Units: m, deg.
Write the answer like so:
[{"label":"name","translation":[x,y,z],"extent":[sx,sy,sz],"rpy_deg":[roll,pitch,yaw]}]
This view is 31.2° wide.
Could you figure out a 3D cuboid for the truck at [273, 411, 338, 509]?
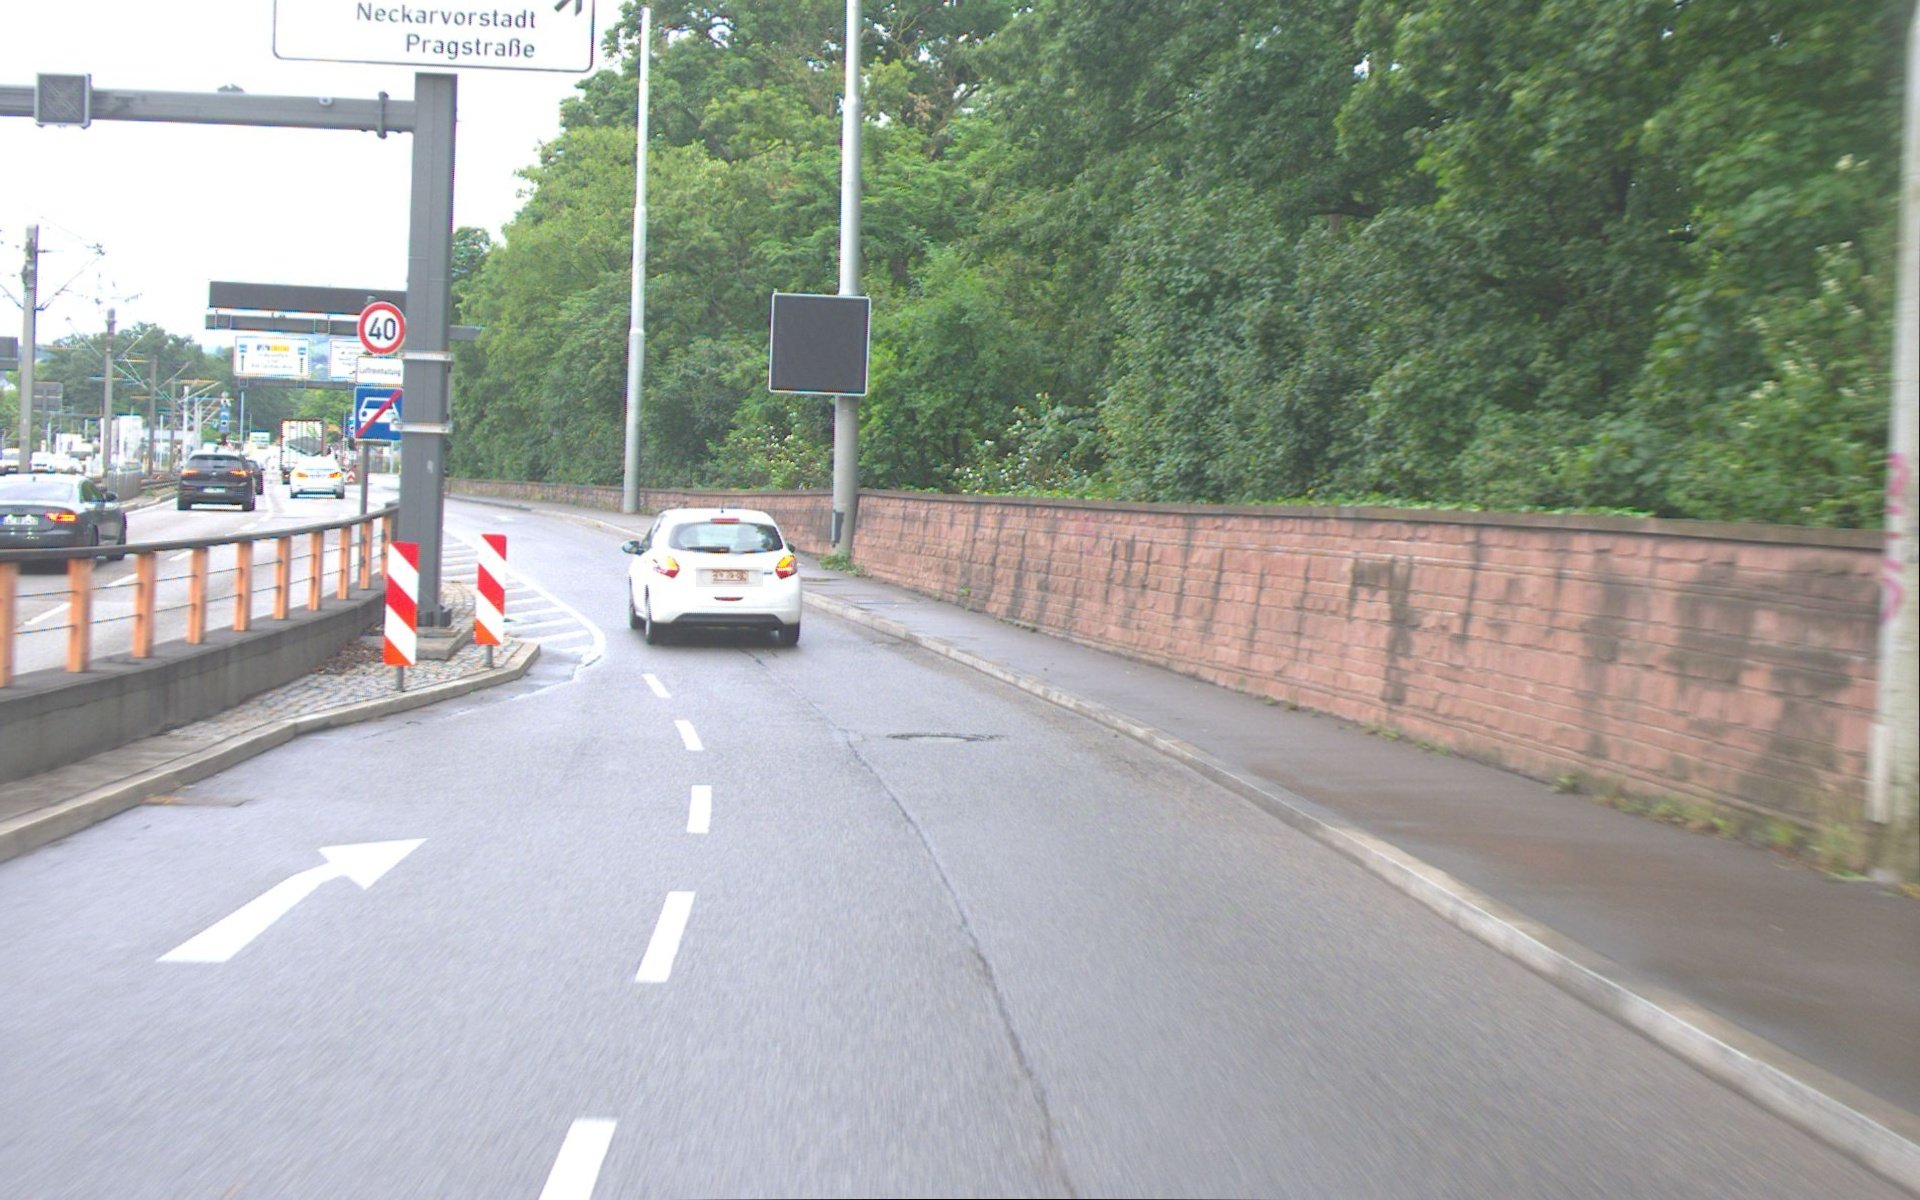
[{"label":"truck","translation":[-40.793,-8.632,214.708],"extent":[3.464,5.382,12.054],"rpy_deg":[3,-1,-10]}]

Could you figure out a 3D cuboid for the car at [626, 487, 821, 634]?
[{"label":"car","translation":[-2.724,-0.406,38.846],"extent":[1.955,1.483,4.001],"rpy_deg":[3,-1,-7]}]

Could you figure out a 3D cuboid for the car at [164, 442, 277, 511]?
[{"label":"car","translation":[-17.749,-2.956,82.654],"extent":[1.993,1.570,4.001],"rpy_deg":[1,2,-3]}]

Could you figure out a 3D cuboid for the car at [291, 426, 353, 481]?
[{"label":"car","translation":[-22.425,-5.127,120.794],"extent":[2.081,1.866,4.097],"rpy_deg":[1,2,-11]}]

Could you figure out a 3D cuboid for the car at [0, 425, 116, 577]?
[{"label":"car","translation":[-13.413,-1.474,49.923],"extent":[1.721,1.884,3.537],"rpy_deg":[2,6,-6]}]
